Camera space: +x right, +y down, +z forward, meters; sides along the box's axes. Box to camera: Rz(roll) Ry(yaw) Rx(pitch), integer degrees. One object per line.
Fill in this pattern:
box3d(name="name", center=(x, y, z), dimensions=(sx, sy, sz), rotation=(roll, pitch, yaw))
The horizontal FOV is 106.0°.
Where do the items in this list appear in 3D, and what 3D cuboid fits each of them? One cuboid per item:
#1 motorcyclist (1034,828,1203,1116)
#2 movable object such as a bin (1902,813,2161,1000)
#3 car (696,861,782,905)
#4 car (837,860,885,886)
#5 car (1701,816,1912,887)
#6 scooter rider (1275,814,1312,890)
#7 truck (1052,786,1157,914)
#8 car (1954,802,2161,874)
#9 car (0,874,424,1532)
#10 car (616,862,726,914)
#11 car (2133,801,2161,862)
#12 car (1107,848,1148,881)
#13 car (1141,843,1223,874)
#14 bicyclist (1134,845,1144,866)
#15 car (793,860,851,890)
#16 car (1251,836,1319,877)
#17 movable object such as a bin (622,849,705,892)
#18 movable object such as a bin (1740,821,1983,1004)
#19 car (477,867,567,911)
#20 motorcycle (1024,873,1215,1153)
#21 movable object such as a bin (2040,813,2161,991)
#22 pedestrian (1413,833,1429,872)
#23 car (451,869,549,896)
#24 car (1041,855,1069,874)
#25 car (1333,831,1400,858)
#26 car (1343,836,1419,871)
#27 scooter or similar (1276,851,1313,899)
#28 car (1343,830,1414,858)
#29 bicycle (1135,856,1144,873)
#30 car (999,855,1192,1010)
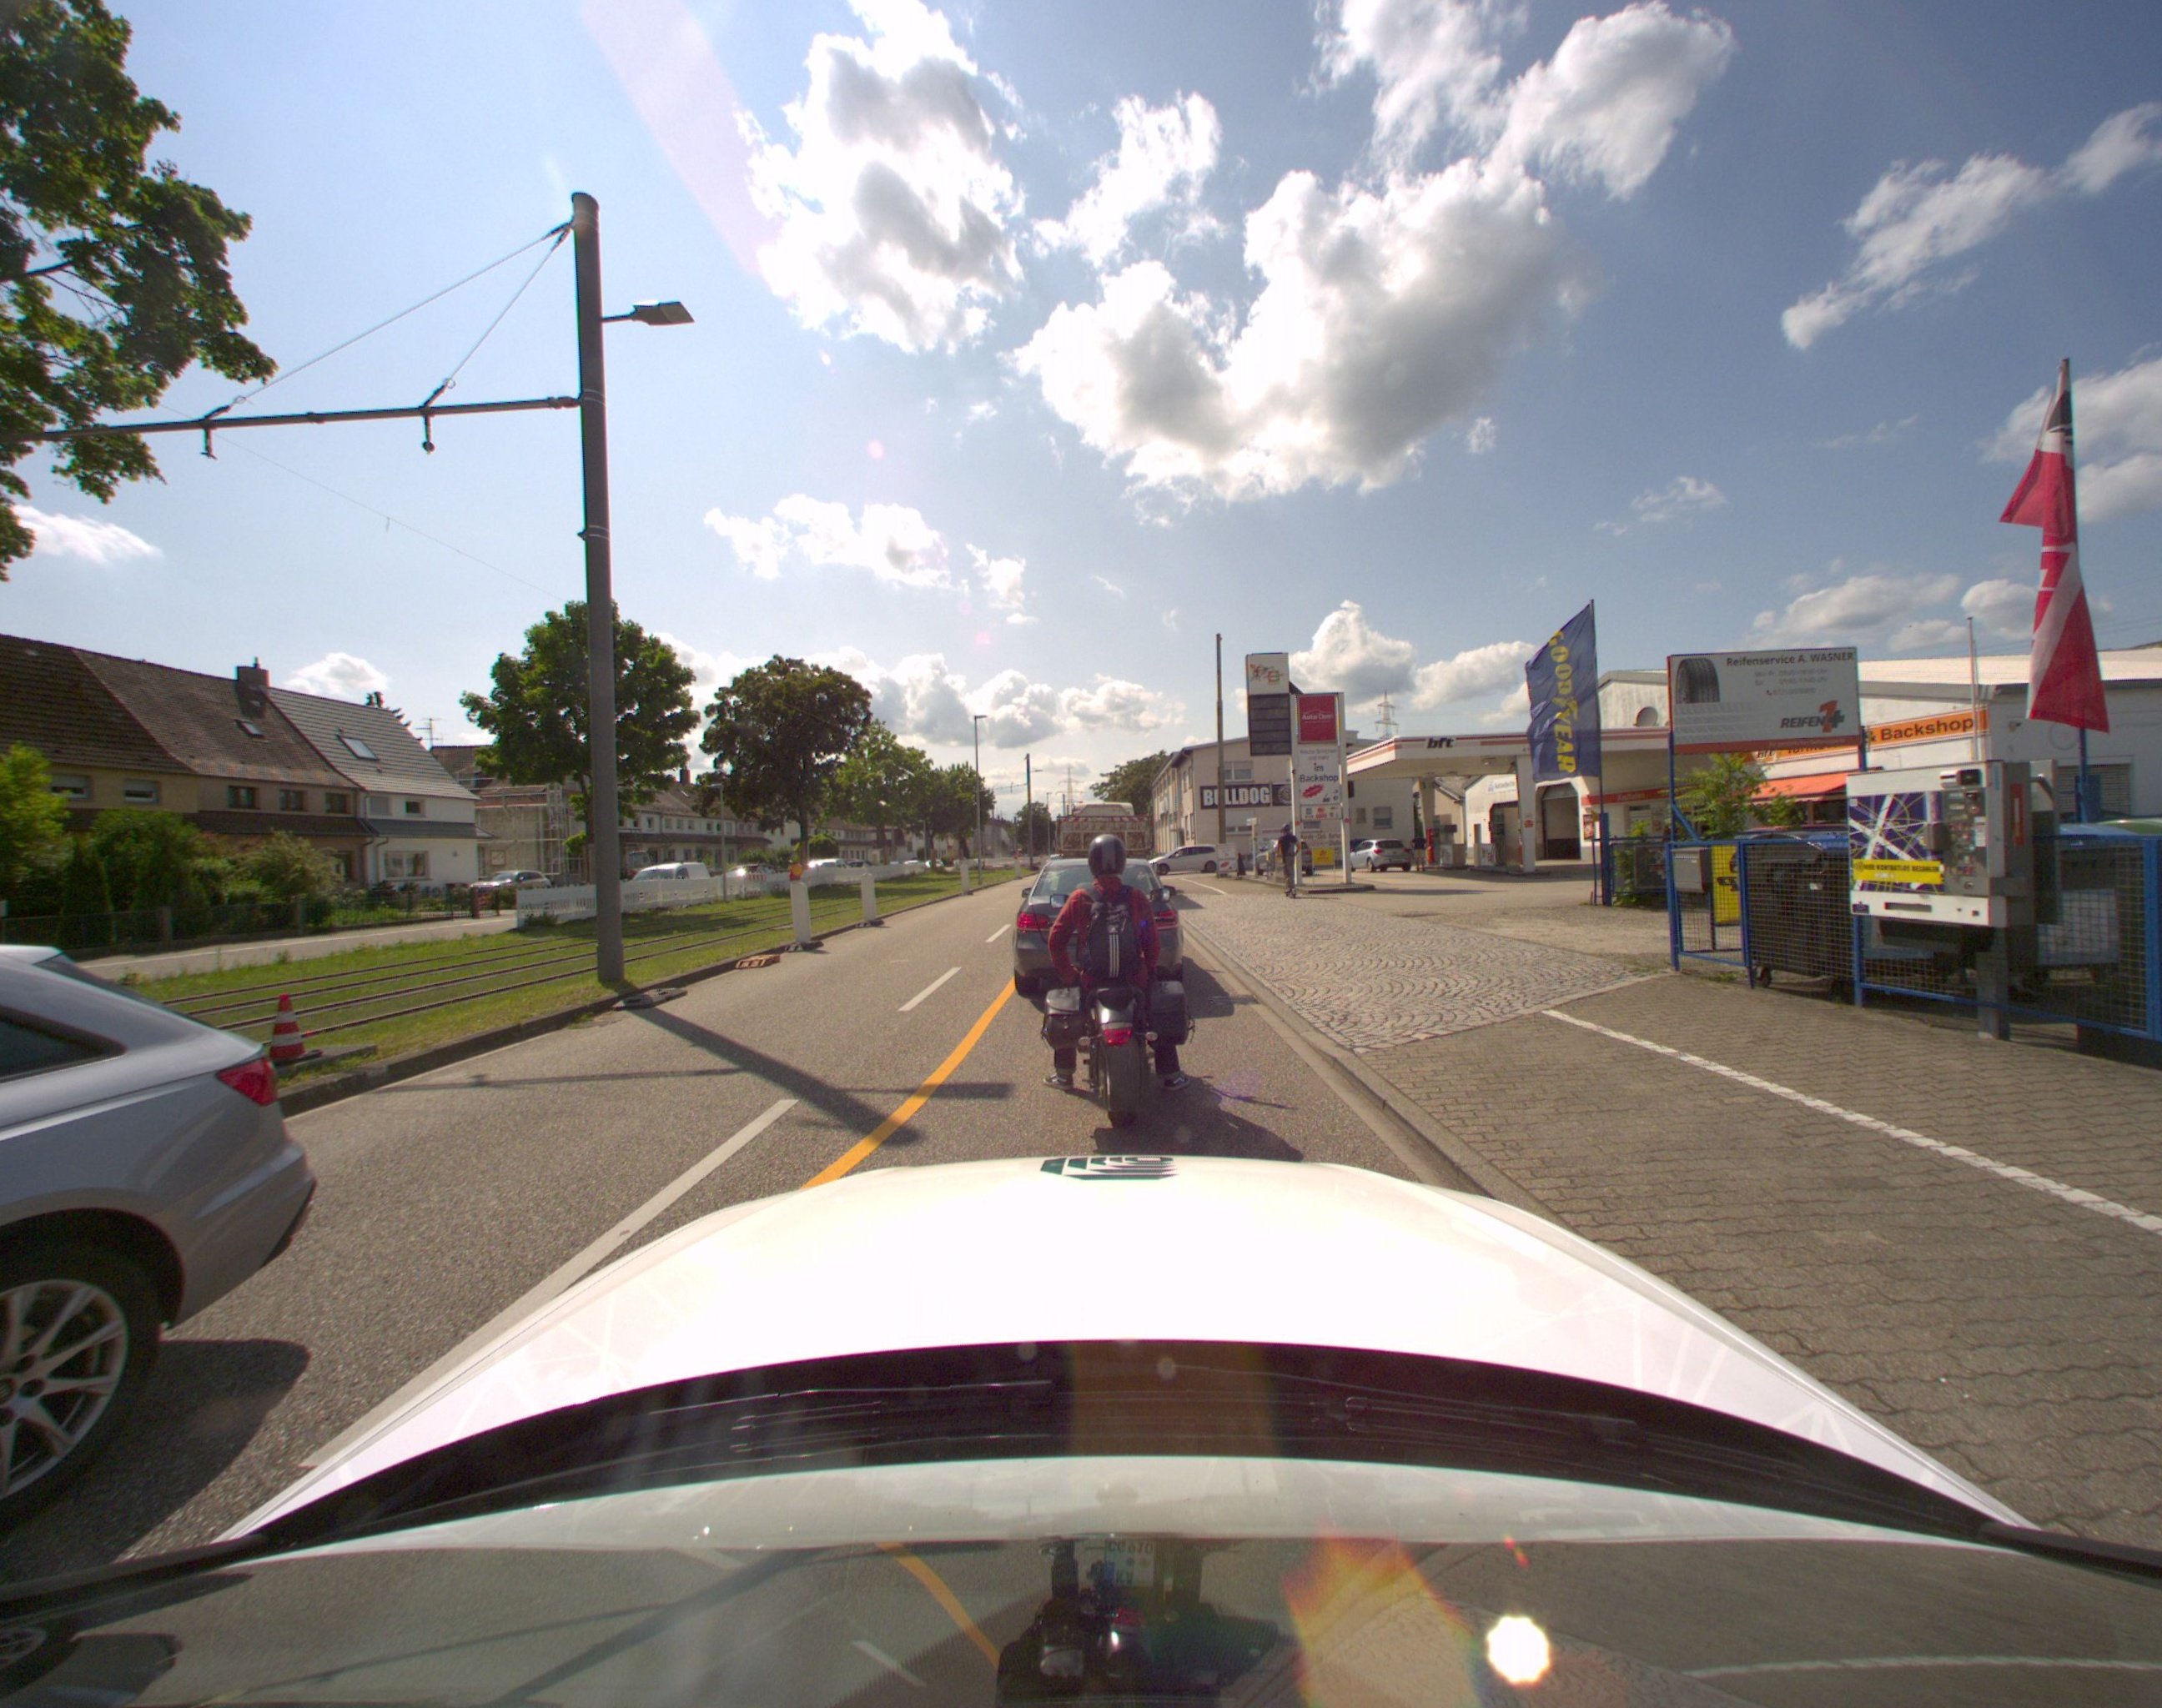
box3d(name="motorcyclist", center=(0.228, 0.664, 5.170), dimensions=(0.936, 1.615, 1.205), rotation=(0, 0, 1))
box3d(name="movable object such as a bin", center=(8.129, 0.426, 6.990), dimensions=(1.251, 1.444, 0.824), rotation=(-3, -1, 2))
box3d(name="car", center=(-15.260, 1.269, 36.585), dimensions=(1.986, 1.750, 4.001), rotation=(-3, -1, 2))
box3d(name="car", center=(-14.960, 1.237, 55.612), dimensions=(1.986, 1.606, 4.001), rotation=(-3, -1, 2))
box3d(name="car", center=(16.458, -0.052, 18.599), dimensions=(3.308, 1.360, 1.612), rotation=(-3, -1, 1))
box3d(name="scooter rider", center=(5.643, -0.053, 21.699), dimensions=(0.714, 1.963, 0.785), rotation=(-2, -1, 1))
box3d(name="truck", center=(0.816, -0.216, 26.163), dimensions=(2.600, 3.255, 9.188), rotation=(-3, 1, 2))
box3d(name="car", center=(21.863, -0.357, 17.919), dimensions=(3.483, 1.360, 1.612), rotation=(-3, -1, 1))
box3d(name="car", center=(-3.291, 0.852, 0.848), dimensions=(1.649, 1.447, 4.302), rotation=(-3, 0, 0))
box3d(name="car", center=(-15.539, 1.238, 31.150), dimensions=(1.986, 1.750, 4.001), rotation=(-3, -1, 2))
box3d(name="car", center=(26.372, -0.620, 17.973), dimensions=(3.992, 1.388, 1.613), rotation=(-3, -1, 3))
box3d(name="car", center=(2.191, 0.453, 39.002), dimensions=(1.814, 1.464, 4.002), rotation=(-2, 0, 2))
box3d(name="car", center=(5.806, 0.279, 47.203), dimensions=(4.326, 1.551, 1.945), rotation=(-3, -1, -7))
box3d(name="bicyclist", center=(4.841, 0.120, 68.103), dimensions=(0.670, 1.744, 0.812), rotation=(-2, 0, -4))
box3d(name="car", center=(-15.192, 1.183, 47.967), dimensions=(1.986, 1.606, 4.001), rotation=(-3, -1, 2))
box3d(name="car", center=(9.050, 0.112, 36.429), dimensions=(1.953, 1.648, 3.999), rotation=(-3, -1, 0))
box3d(name="movable object such as a bin", center=(-26.075, 1.018, 51.061), dimensions=(4.351, 2.449, 1.776), rotation=(-3, 0, -21))
box3d(name="movable object such as a bin", center=(6.762, 0.489, 7.127), dimensions=(1.251, 1.444, 0.824), rotation=(-3, -1, 2))
box3d(name="car", center=(-24.394, 1.494, 35.652), dimensions=(1.678, 1.722, 3.031), rotation=(-3, -1, 2))
box3d(name="motorcycle", center=(0.232, 0.817, 5.350), dimensions=(0.936, 1.320, 2.646), rotation=(0, 0, 2))
box3d(name="movable object such as a bin", center=(9.451, 0.366, 6.990), dimensions=(1.318, 1.444, 0.953), rotation=(-3, -1, -6))
box3d(name="pedestrian", center=(14.800, -0.053, 35.469), dimensions=(0.395, 1.689, 0.486), rotation=(-3, -1, 3))
box3d(name="car", center=(-27.510, 1.321, 38.707), dimensions=(1.678, 1.052, 3.982), rotation=(-3, -1, 2))
box3d(name="car", center=(-2.030, 0.806, 65.153), dimensions=(1.839, 1.386, 4.347), rotation=(-3, -1, 2))
box3d(name="car", center=(19.807, -0.626, 56.628), dimensions=(3.973, 1.648, 1.966), rotation=(-3, -1, 1))
box3d(name="car", center=(13.567, 0.000, 37.090), dimensions=(1.953, 1.420, 3.999), rotation=(-3, -1, 0))
box3d(name="scooter or similar", center=(5.636, 0.534, 21.556), dimensions=(0.538, 1.195, 1.611), rotation=(-3, -1, 1))
box3d(name="car", center=(19.732, -0.637, 54.082), dimensions=(3.973, 1.648, 1.966), rotation=(-3, -1, 1))
box3d(name="bicycle", center=(4.897, 0.893, 68.134), dimensions=(0.690, 1.361, 2.421), rotation=(-3, 0, 4))
box3d(name="car", center=(0.199, 0.756, 9.828), dimensions=(1.815, 1.424, 4.002), rotation=(-2, 0, 2))
